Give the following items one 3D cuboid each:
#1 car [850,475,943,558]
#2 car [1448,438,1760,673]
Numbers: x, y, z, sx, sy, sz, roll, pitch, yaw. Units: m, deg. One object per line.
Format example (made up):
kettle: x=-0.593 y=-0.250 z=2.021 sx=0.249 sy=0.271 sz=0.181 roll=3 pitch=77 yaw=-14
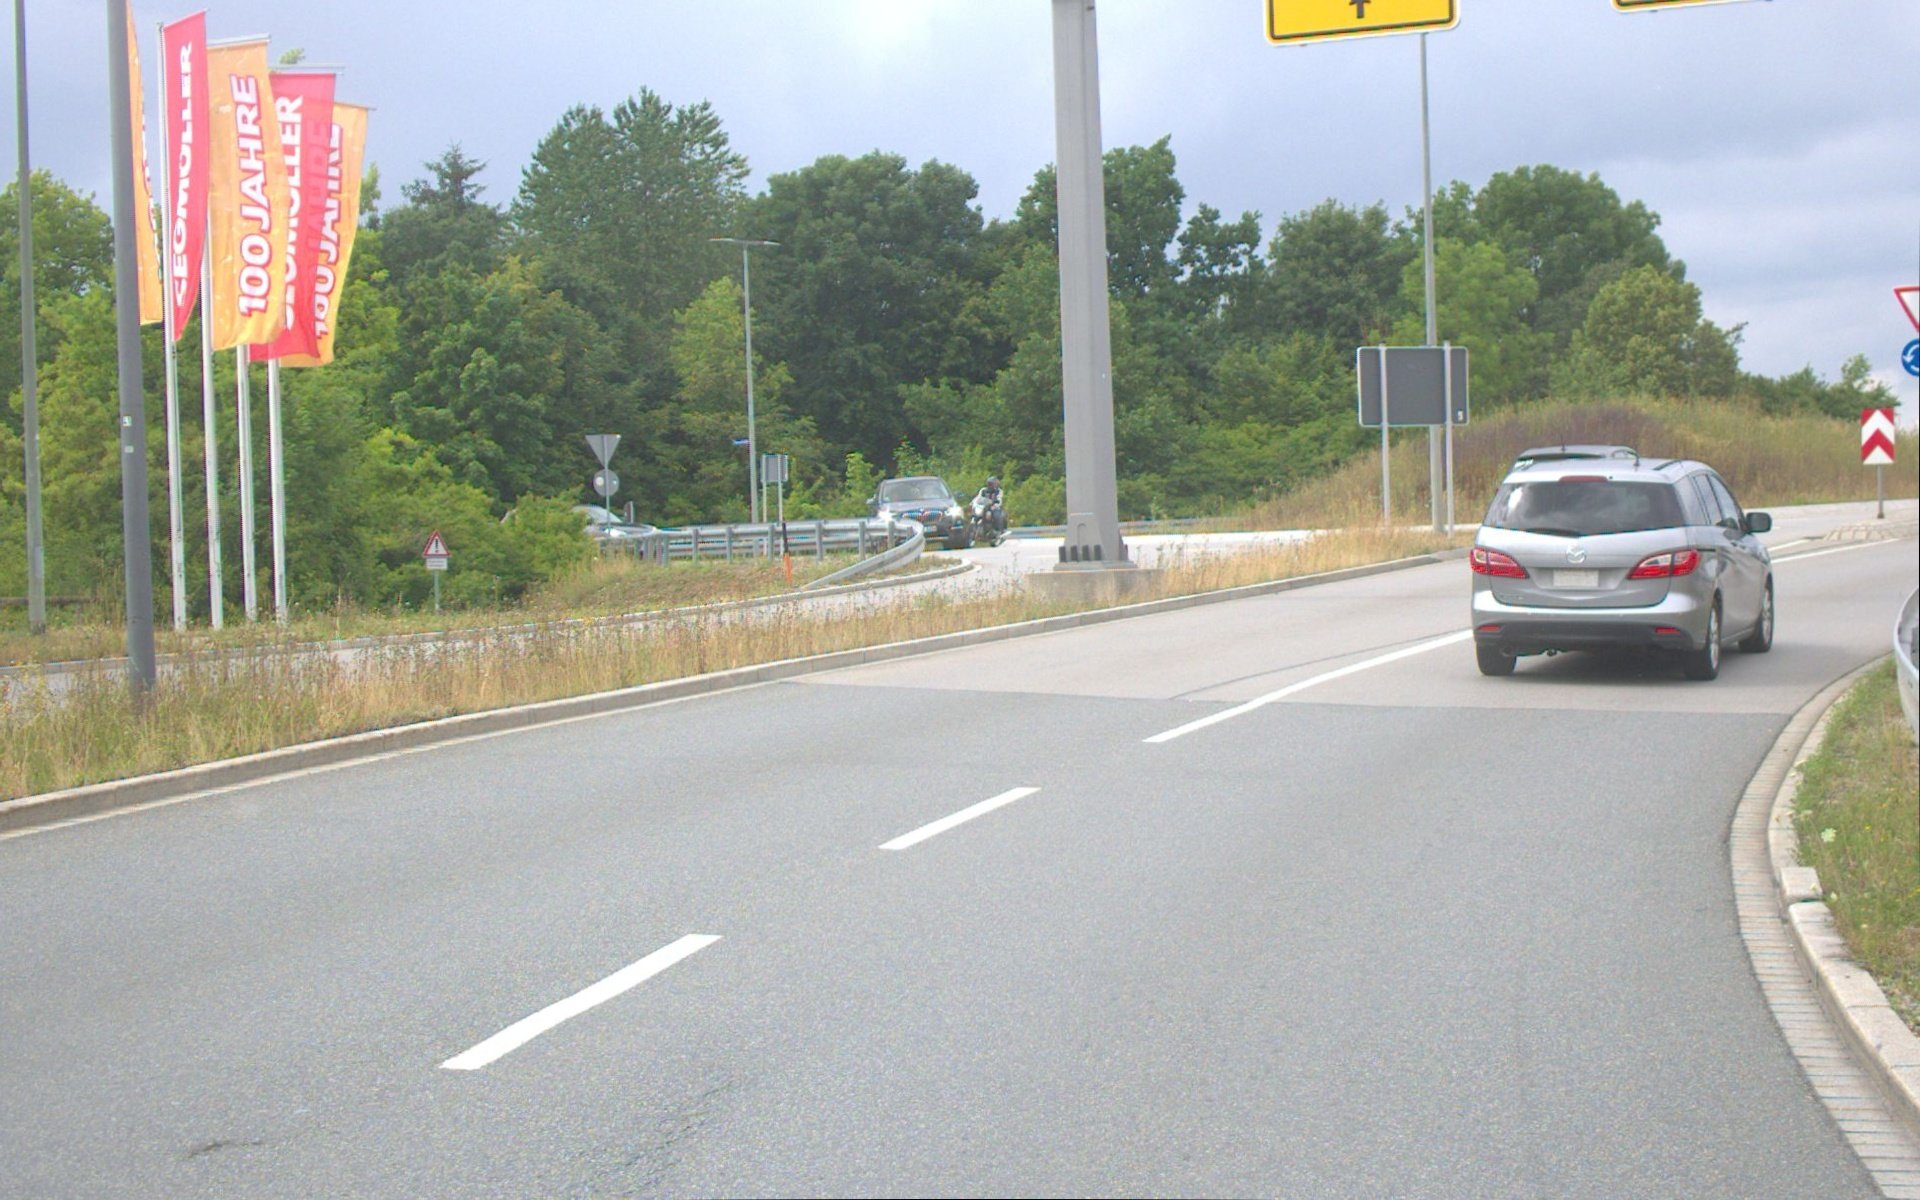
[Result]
car: x=-1.333 y=-1.708 z=71.387 sx=1.853 sy=1.659 sz=4.163 roll=-1 pitch=1 yaw=-1
car: x=4.988 y=-0.390 z=26.246 sx=1.769 sy=1.611 sz=3.918 roll=-1 pitch=3 yaw=19
